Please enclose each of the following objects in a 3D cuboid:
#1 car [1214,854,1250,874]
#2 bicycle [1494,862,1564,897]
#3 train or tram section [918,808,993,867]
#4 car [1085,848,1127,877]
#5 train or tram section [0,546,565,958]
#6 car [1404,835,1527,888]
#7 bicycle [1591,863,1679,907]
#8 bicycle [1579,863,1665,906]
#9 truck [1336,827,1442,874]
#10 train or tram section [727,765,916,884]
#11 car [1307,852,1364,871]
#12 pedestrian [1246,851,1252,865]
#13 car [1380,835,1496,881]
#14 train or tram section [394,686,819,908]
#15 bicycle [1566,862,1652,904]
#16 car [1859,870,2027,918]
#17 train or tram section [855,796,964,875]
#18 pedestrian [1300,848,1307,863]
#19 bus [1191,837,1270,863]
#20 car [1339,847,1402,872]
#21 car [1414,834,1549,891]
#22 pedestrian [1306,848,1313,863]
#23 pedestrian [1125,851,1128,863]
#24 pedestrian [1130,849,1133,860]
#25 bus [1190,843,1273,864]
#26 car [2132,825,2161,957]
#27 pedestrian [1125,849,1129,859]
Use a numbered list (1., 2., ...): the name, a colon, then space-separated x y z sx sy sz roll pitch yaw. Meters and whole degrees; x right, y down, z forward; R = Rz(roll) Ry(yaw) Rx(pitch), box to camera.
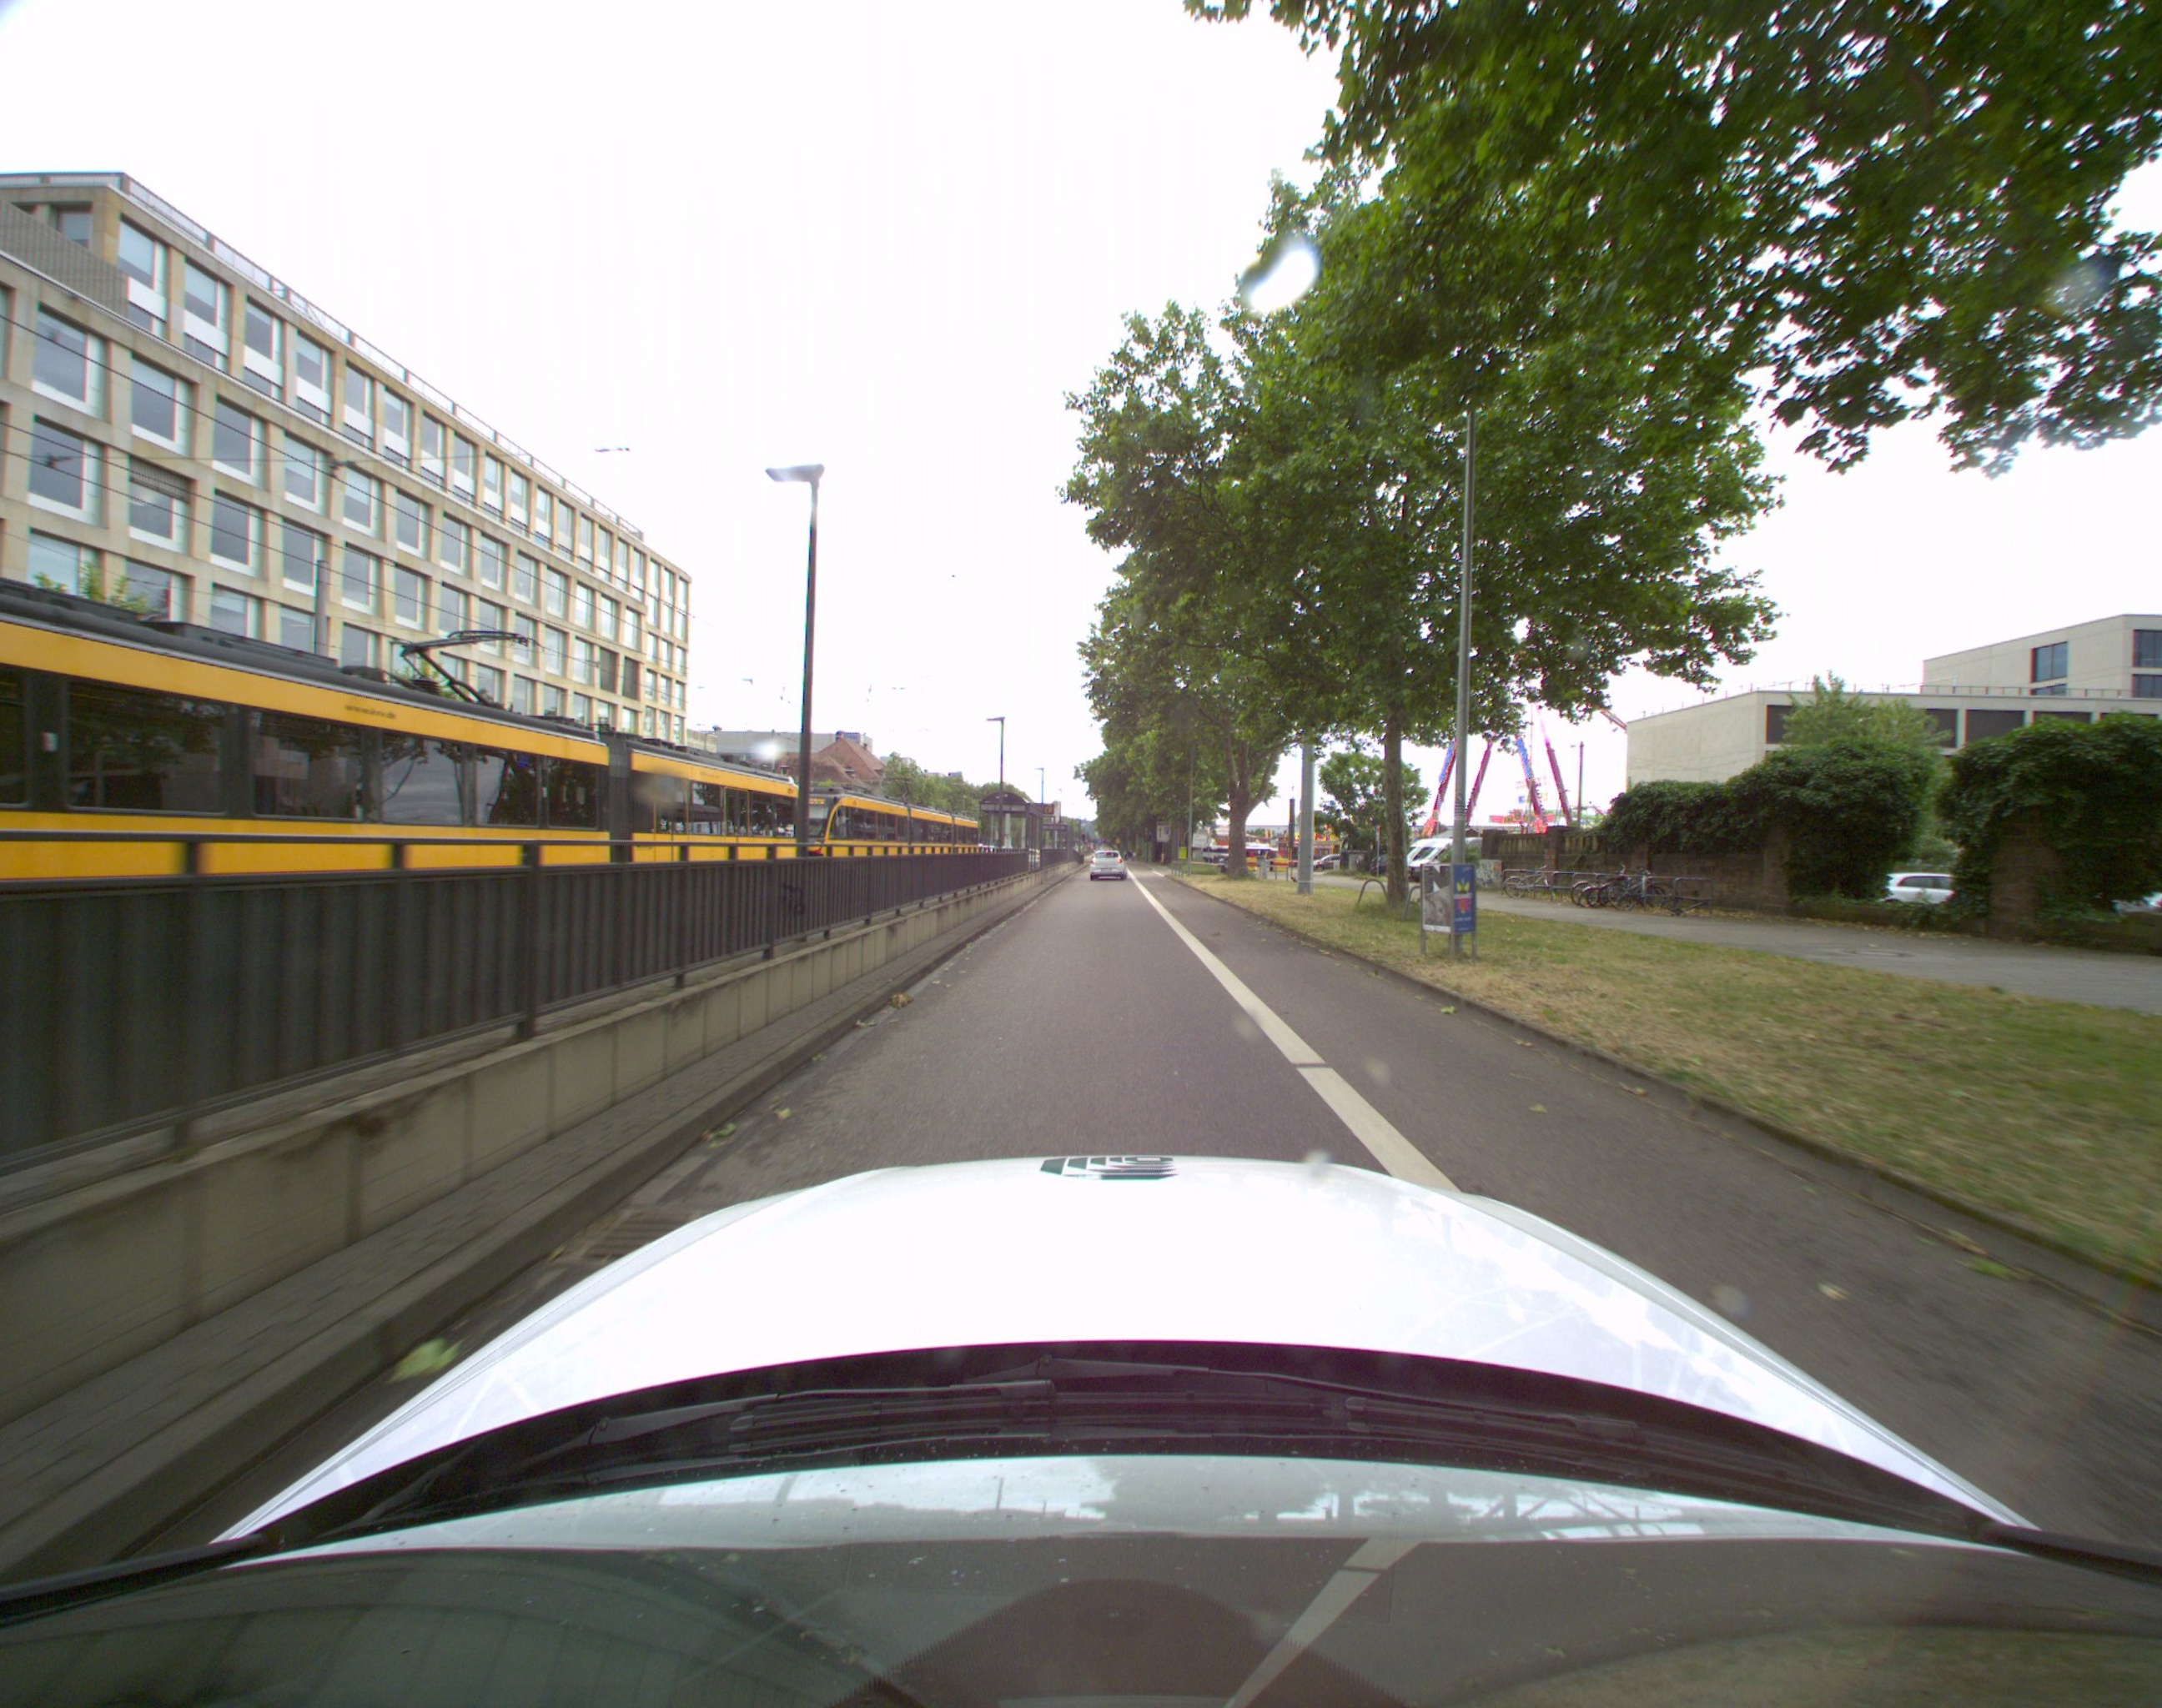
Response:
1. car: 11.474 0.762 62.213 1.858 1.430 3.996 1 0 -3
2. bicycle: 14.299 0.796 26.015 1.915 1.091 0.550 0 0 -1
3. train or tram section: -9.807 -1.149 65.923 3.168 4.179 14.740 1 0 2
4. car: 1.254 0.427 42.550 1.880 1.453 3.997 1 0 -2
5. train or tram section: -11.647 -0.972 9.863 3.151 3.862 11.316 1 0 2
6. car: 21.174 0.396 45.049 5.765 2.535 2.040 3 0 1
7. bicycle: 14.179 0.790 20.853 1.884 1.105 0.550 0 0 -1
8. bicycle: 14.221 0.787 21.434 1.894 1.097 0.550 0 0 -1
9. truck: 26.708 -0.318 70.791 8.164 3.822 2.600 1 0 0
10. train or tram section: -10.785 -1.030 36.533 3.168 4.179 14.740 1 0 2
11. car: 23.020 0.670 73.779 4.558 1.575 2.000 1 0 0
12. pedestrian: 18.309 0.428 88.947 0.491 1.463 0.523 1 -1 -1
13. car: 21.176 0.237 48.432 6.004 2.555 2.100 1 0 0
14. train or tram section: -11.251 -1.061 22.356 3.168 4.179 13.626 1 0 2
15. bicycle: 14.301 0.783 22.071 1.968 1.094 0.550 0 0 -1
16. car: 28.748 1.291 27.295 3.529 1.420 1.620 1 0 26
17. train or tram section: -10.304 -0.975 51.213 3.168 4.179 14.740 1 0 2
18. pedestrian: 24.808 0.172 90.667 0.523 1.687 0.492 1 -1 -15
19. bus: 18.016 -0.446 98.389 9.250 2.960 1.999 1 0 -1
20. car: 24.080 0.482 67.823 4.558 2.013 2.000 0 1 0
21. car: 20.512 0.395 41.904 5.760 2.522 2.173 3 1 3
22. pedestrian: 25.542 0.160 91.116 0.523 1.687 0.492 1 -1 -15
23. pedestrian: 8.024 0.489 143.706 0.393 2.014 0.404 1 -1 17
24. pedestrian: 7.778 0.087 124.632 0.393 1.585 0.539 1 -1 9
25. bus: 17.566 -0.063 95.195 9.250 2.227 1.999 1 0 -1
26. car: 21.112 0.733 13.604 5.081 2.264 1.665 2 0 -2
27. pedestrian: 7.041 -0.005 124.486 0.393 1.444 0.565 1 -1 13
